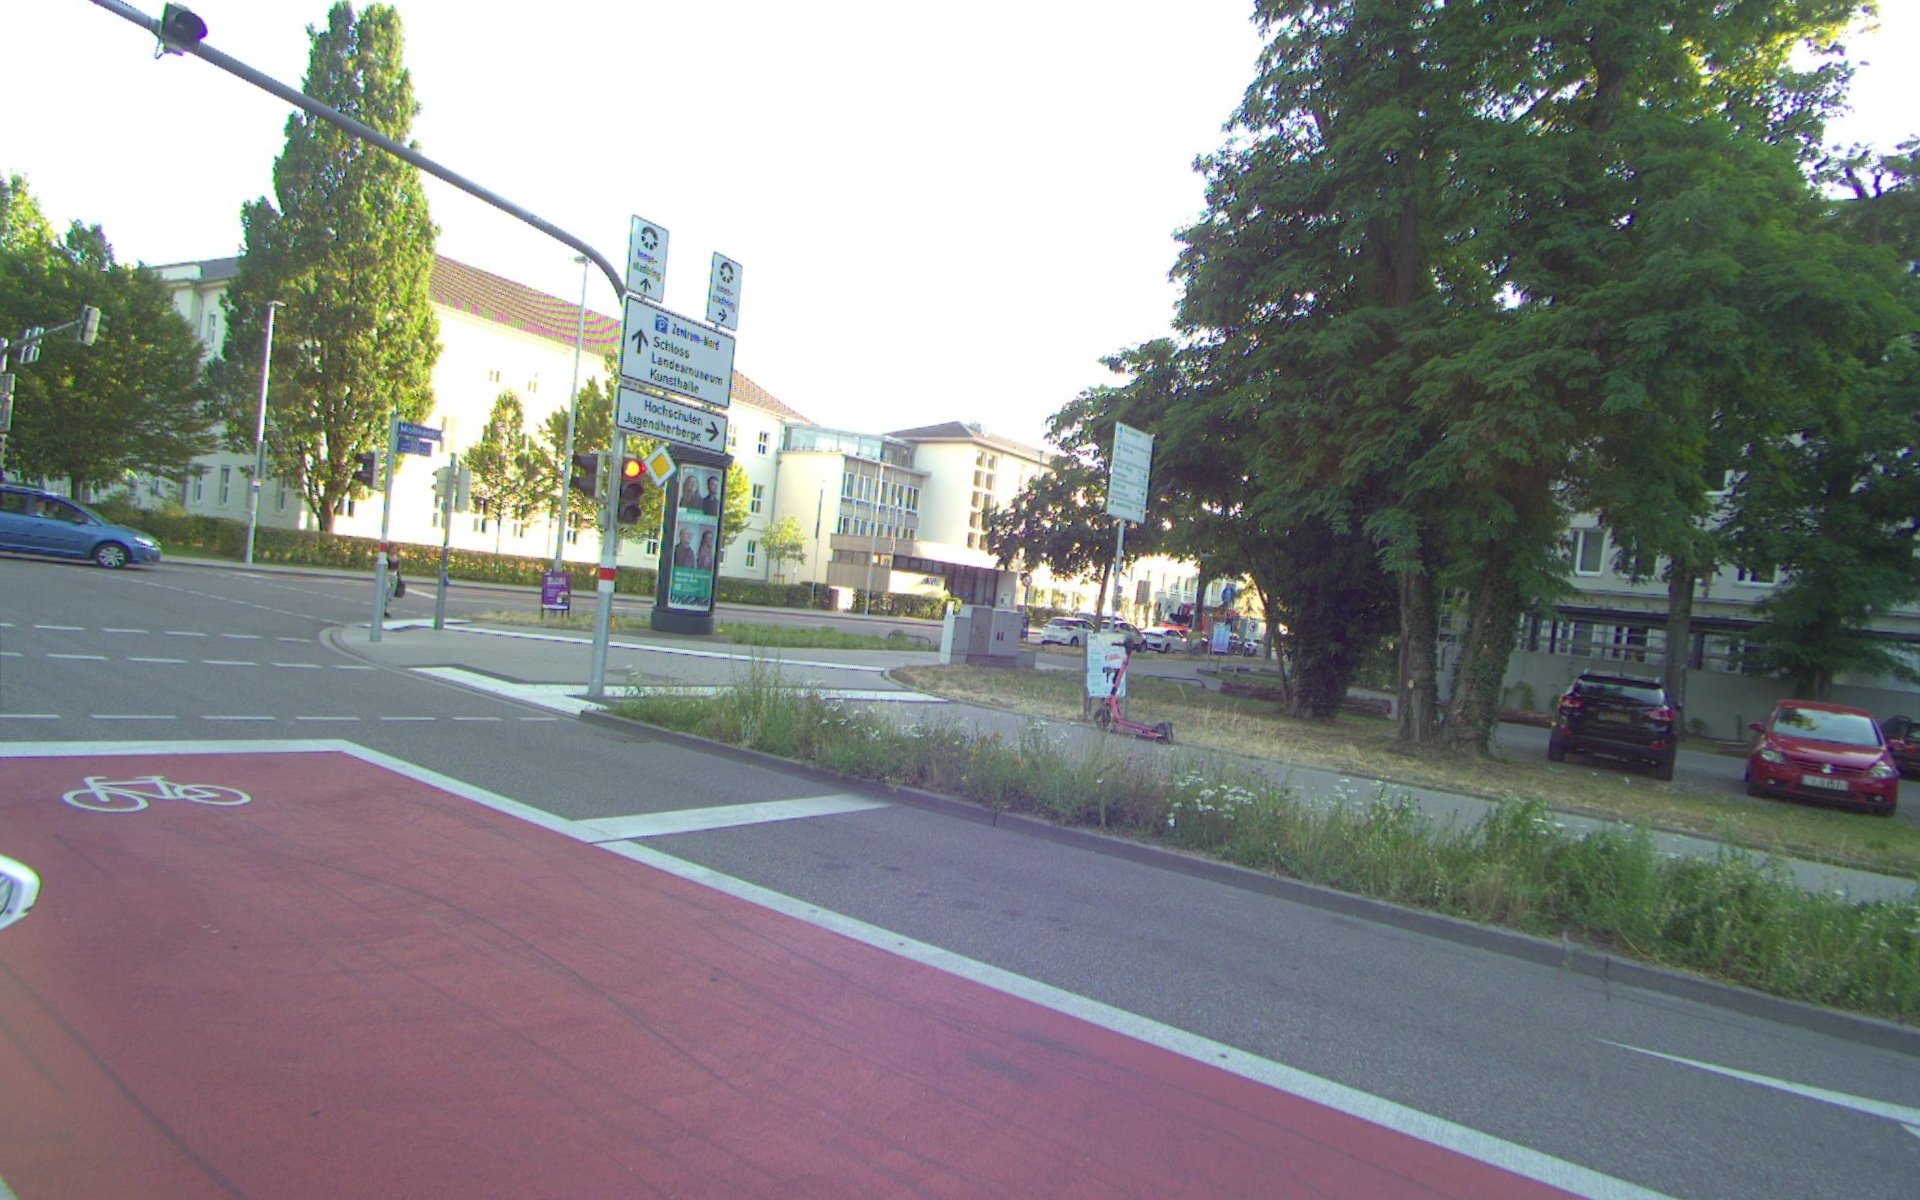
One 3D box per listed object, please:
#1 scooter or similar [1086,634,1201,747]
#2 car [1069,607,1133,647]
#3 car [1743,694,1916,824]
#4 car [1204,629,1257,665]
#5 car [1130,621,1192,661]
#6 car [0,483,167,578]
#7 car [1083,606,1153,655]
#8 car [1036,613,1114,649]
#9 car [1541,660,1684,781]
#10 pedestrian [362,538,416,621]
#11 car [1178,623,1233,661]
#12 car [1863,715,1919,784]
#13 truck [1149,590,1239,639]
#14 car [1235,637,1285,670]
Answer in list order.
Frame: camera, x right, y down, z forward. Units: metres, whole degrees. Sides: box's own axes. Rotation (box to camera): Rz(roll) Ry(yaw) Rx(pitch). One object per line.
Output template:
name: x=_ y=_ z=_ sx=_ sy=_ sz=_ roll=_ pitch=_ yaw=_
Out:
scooter or similar: x=2.327 y=1.135 z=12.809 sx=1.289 sy=1.247 sz=0.311 roll=7 pitch=1 yaw=32
car: x=7.775 y=1.526 z=55.243 sx=1.720 sy=1.783 sz=3.989 roll=7 pitch=-1 yaw=35
car: x=13.992 y=2.453 z=16.404 sx=1.759 sy=1.581 sz=3.984 roll=7 pitch=0 yaw=38
car: x=17.221 y=3.030 z=63.860 sx=1.789 sy=1.893 sz=4.136 roll=7 pitch=-1 yaw=35
car: x=11.072 y=2.268 z=55.107 sx=1.720 sy=1.783 sz=3.989 roll=7 pitch=-1 yaw=35
car: x=-21.333 y=-1.684 z=23.475 sx=4.258 sy=1.742 sz=1.836 roll=7 pitch=2 yaw=-37
car: x=8.064 y=1.583 z=51.190 sx=1.713 sy=2.038 sz=3.988 roll=7 pitch=-1 yaw=36
car: x=5.476 y=1.490 z=47.710 sx=1.793 sy=1.358 sz=3.985 roll=6 pitch=0 yaw=37
car: x=11.763 y=2.109 z=18.066 sx=1.808 sy=1.715 sz=3.899 roll=7 pitch=-1 yaw=36
pedestrian: x=-12.219 y=-0.431 z=21.538 sx=0.680 sy=1.656 sz=0.600 roll=8 pitch=1 yaw=33
car: x=14.605 y=2.494 z=59.730 sx=1.698 sy=1.879 sz=3.989 roll=7 pitch=-1 yaw=35
car: x=23.178 y=3.620 z=24.034 sx=1.873 sy=1.459 sz=3.987 roll=7 pitch=-1 yaw=37
truck: x=15.859 y=1.059 z=67.465 sx=2.327 sy=2.315 sz=10.049 roll=7 pitch=-1 yaw=34
car: x=20.371 y=3.655 z=68.238 sx=1.873 sy=1.831 sz=3.988 roll=7 pitch=-1 yaw=36
